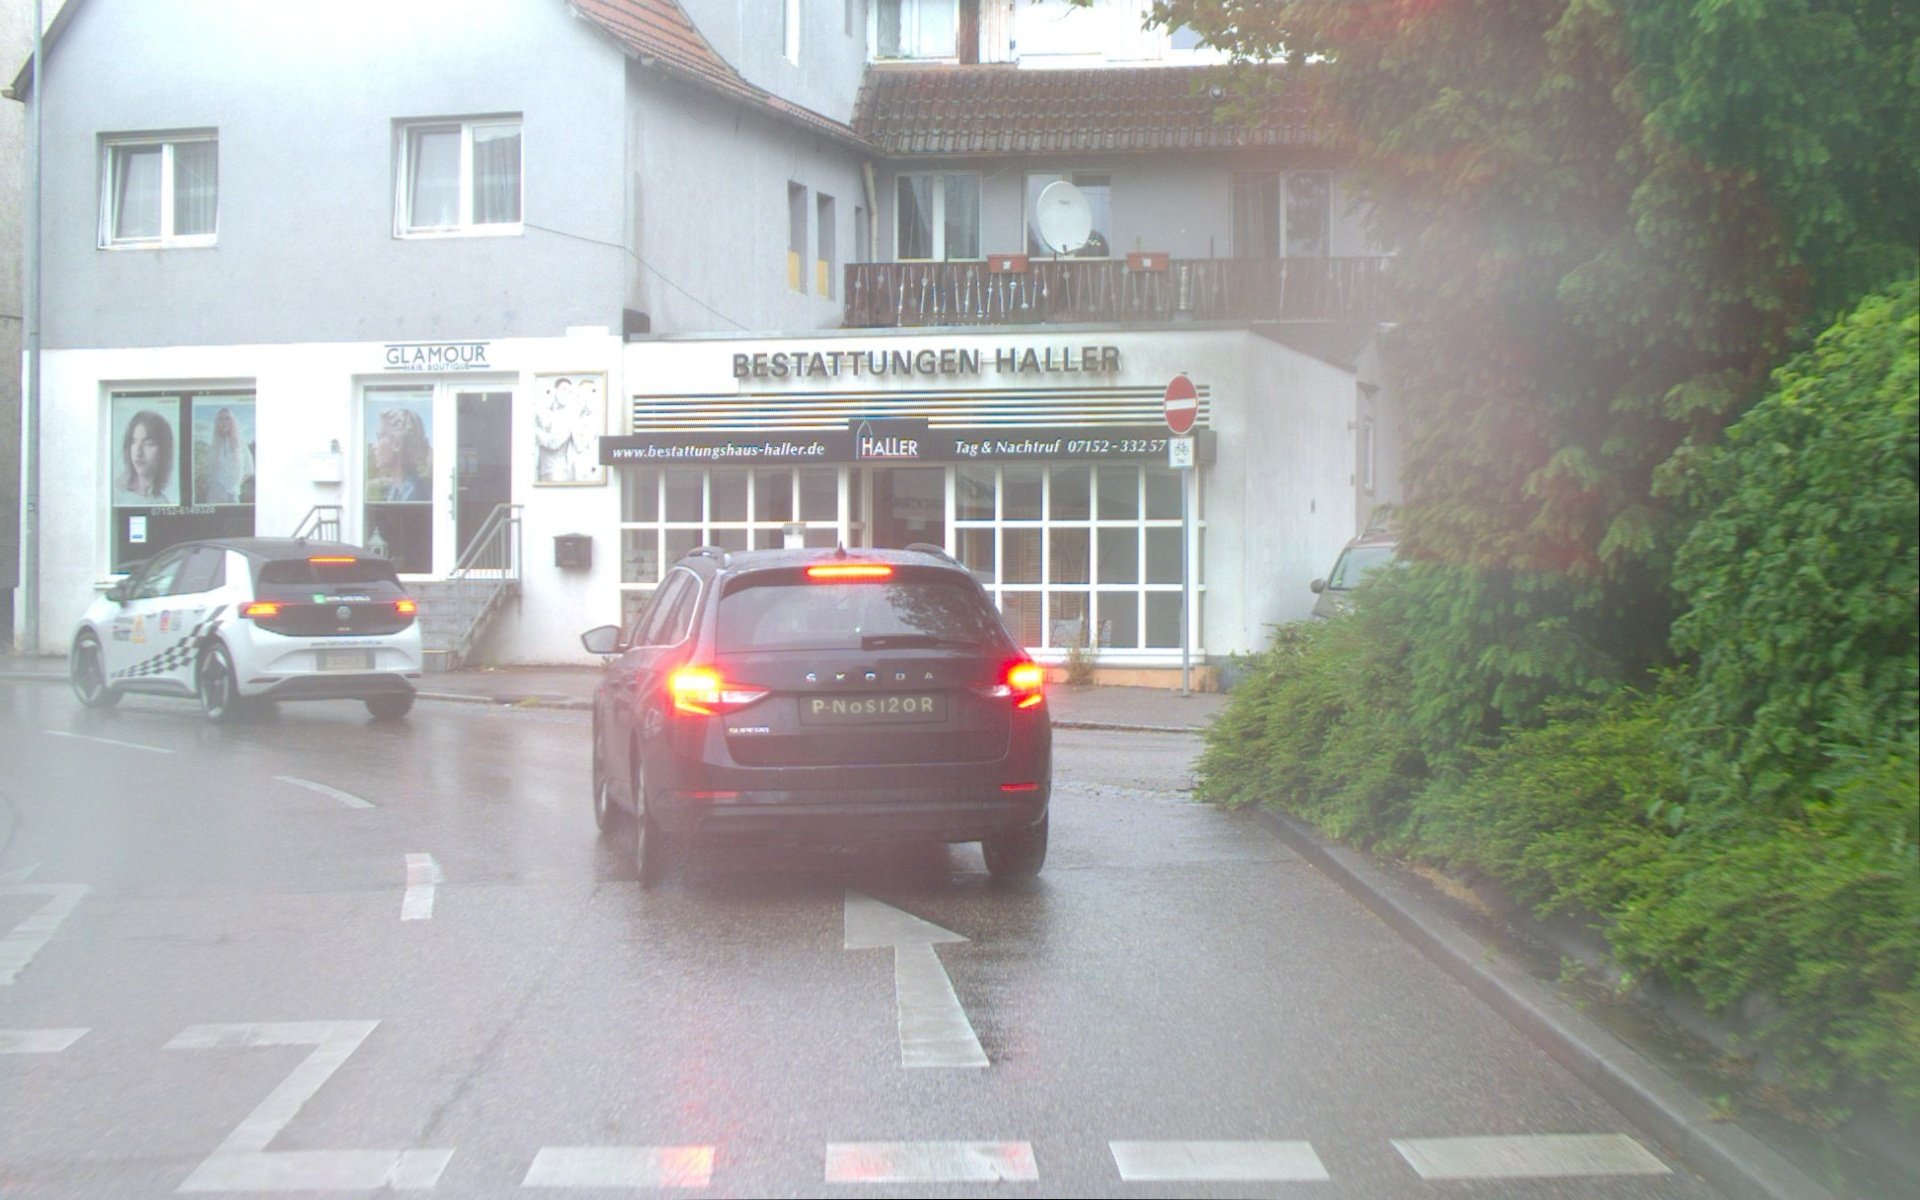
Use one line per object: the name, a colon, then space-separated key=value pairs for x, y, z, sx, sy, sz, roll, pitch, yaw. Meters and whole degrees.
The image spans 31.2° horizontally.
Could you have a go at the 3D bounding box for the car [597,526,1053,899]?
car: x=-0.766 y=0.410 z=16.096 sx=1.732 sy=1.445 sz=4.242 roll=0 pitch=2 yaw=-8

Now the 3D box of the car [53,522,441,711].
car: x=-6.357 y=0.088 z=30.320 sx=1.789 sy=1.512 sz=4.241 roll=-2 pitch=2 yaw=-35

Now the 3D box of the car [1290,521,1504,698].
car: x=4.804 y=0.041 z=37.285 sx=1.924 sy=1.722 sz=4.666 roll=0 pitch=2 yaw=12
